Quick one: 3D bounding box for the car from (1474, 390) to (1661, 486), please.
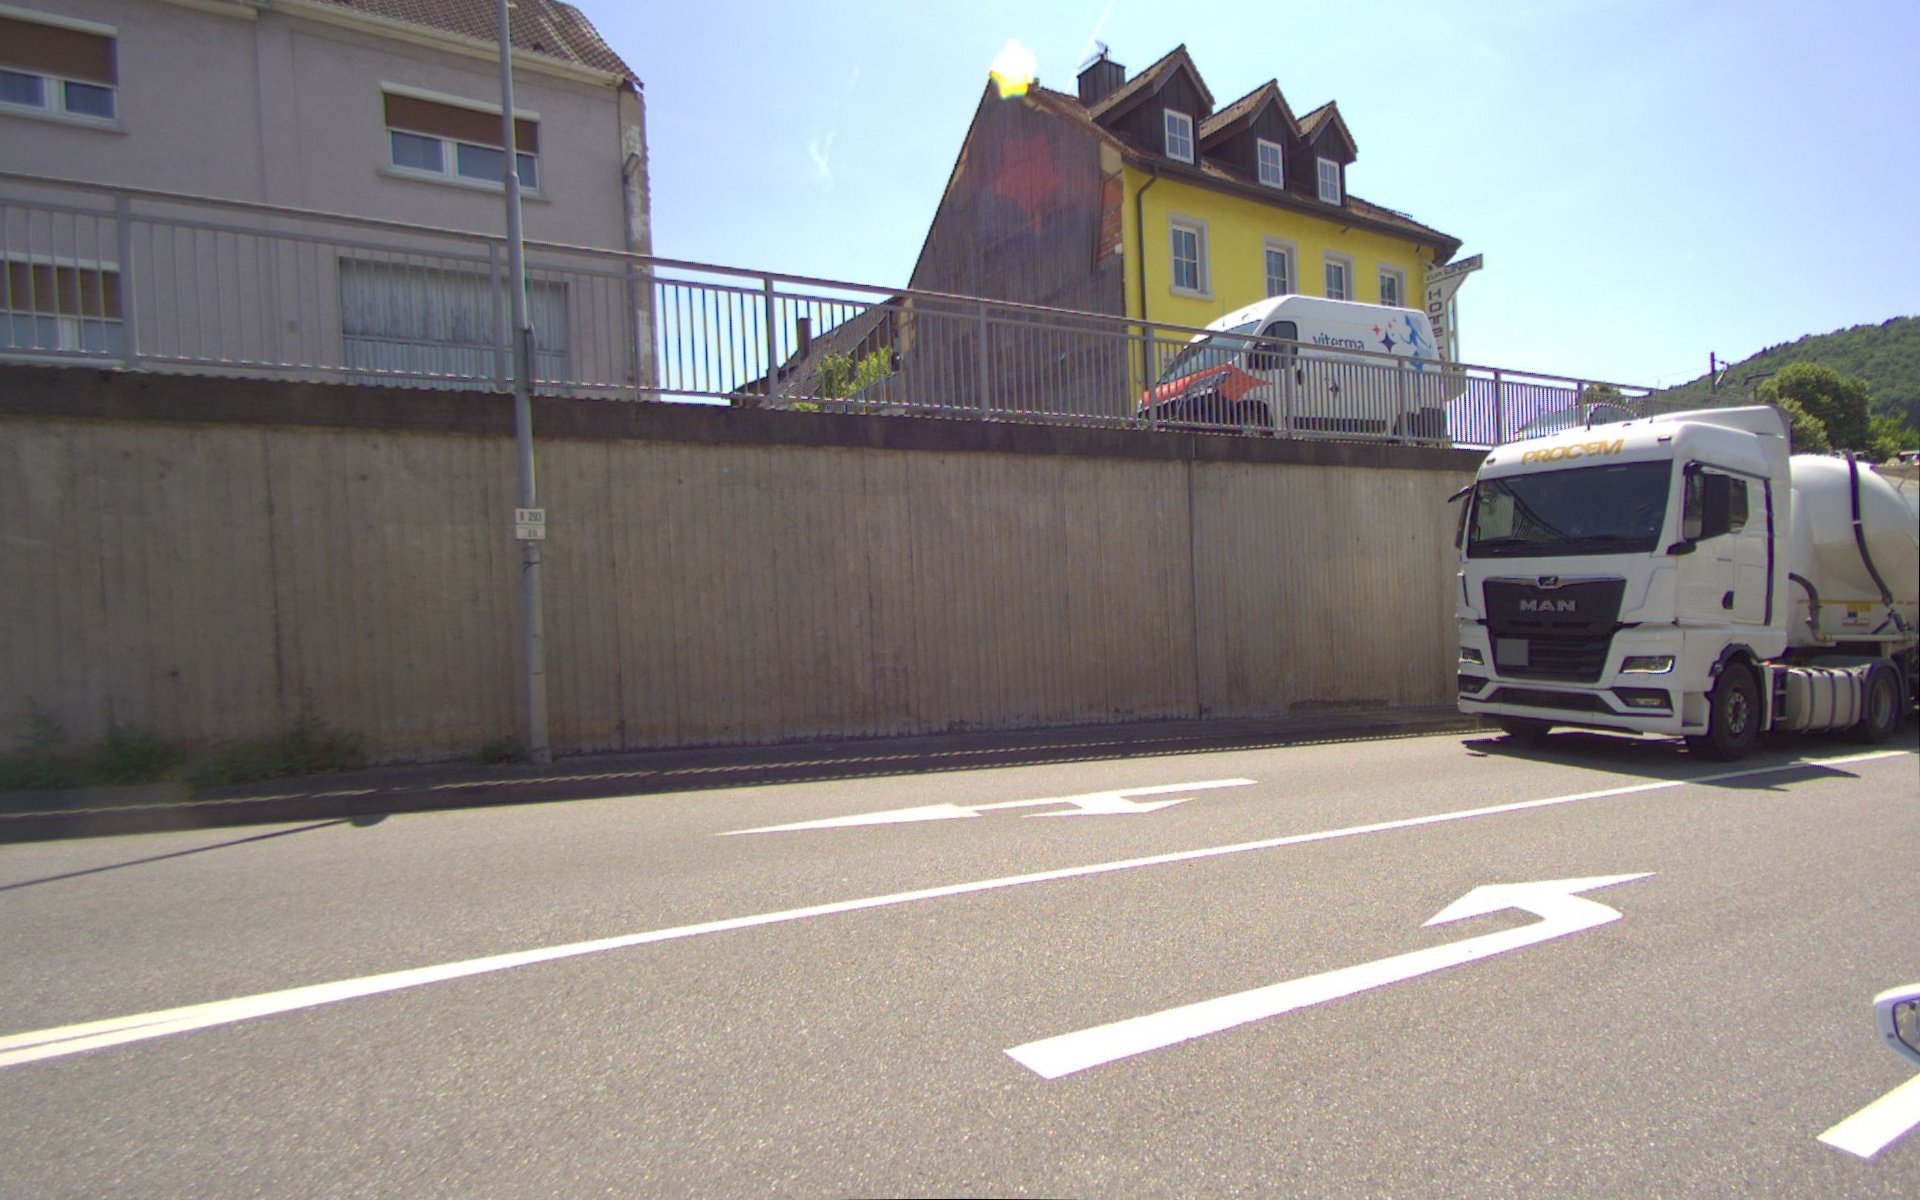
[{"bbox_3d":[12.270,-3.179,20.241,3.999,1.521,1.610,-3,2,-32],"label":"car"}]

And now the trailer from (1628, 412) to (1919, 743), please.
[{"bbox_3d":[14.258,-0.174,15.645,9.236,4.017,2.598,1,-1,-30],"label":"trailer"}]

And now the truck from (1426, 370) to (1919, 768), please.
[{"bbox_3d":[9.130,-0.233,12.657,6.502,3.912,2.649,1,-1,-30],"label":"truck"}]

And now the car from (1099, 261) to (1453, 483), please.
[{"bbox_3d":[4.999,-3.266,15.544,5.596,2.571,2.054,-3,2,-32],"label":"car"}]
